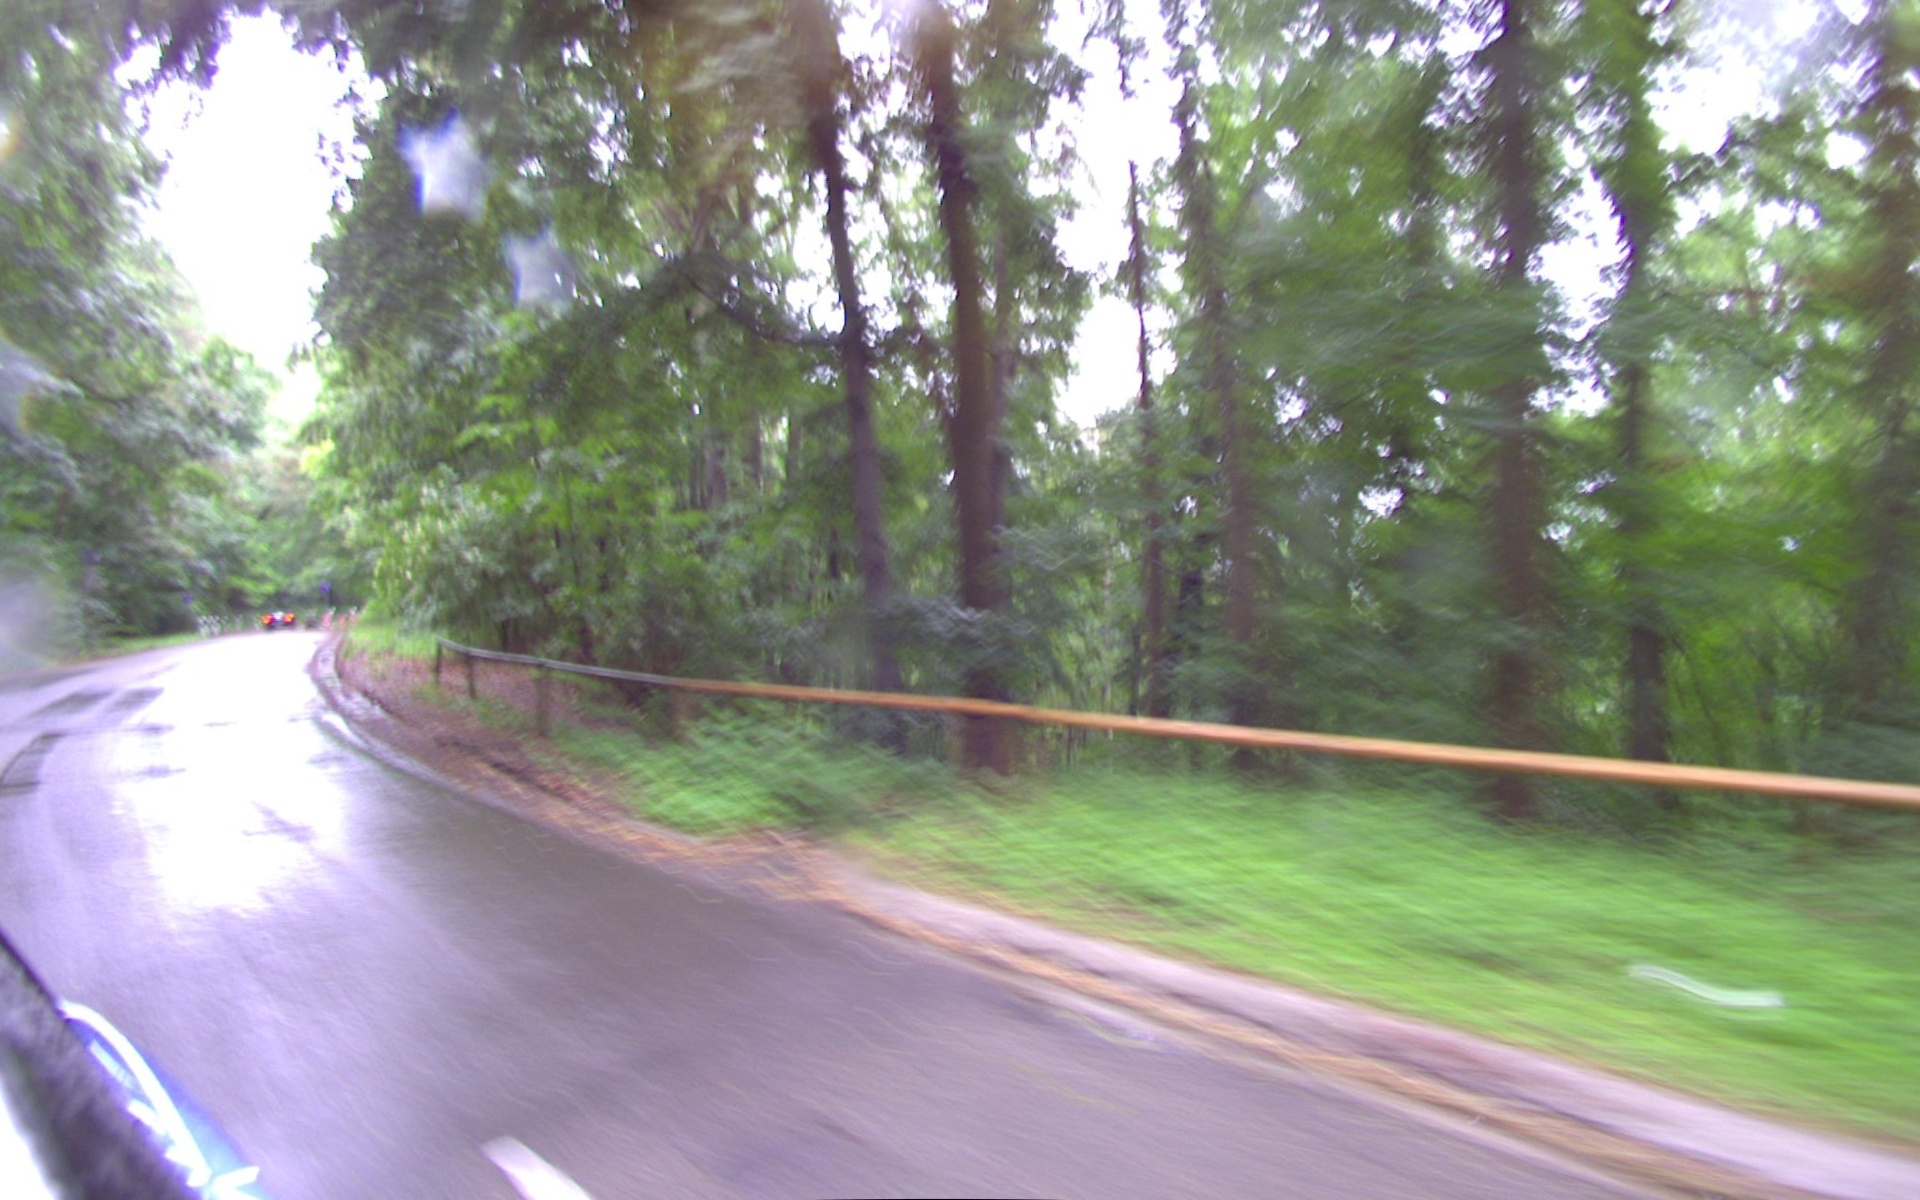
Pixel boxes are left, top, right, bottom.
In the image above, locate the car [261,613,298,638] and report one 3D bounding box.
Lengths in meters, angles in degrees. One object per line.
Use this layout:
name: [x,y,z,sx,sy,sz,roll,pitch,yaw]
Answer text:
car: [-50.667,1.885,75.437,1.966,1.763,4.012,-1,0,-29]
